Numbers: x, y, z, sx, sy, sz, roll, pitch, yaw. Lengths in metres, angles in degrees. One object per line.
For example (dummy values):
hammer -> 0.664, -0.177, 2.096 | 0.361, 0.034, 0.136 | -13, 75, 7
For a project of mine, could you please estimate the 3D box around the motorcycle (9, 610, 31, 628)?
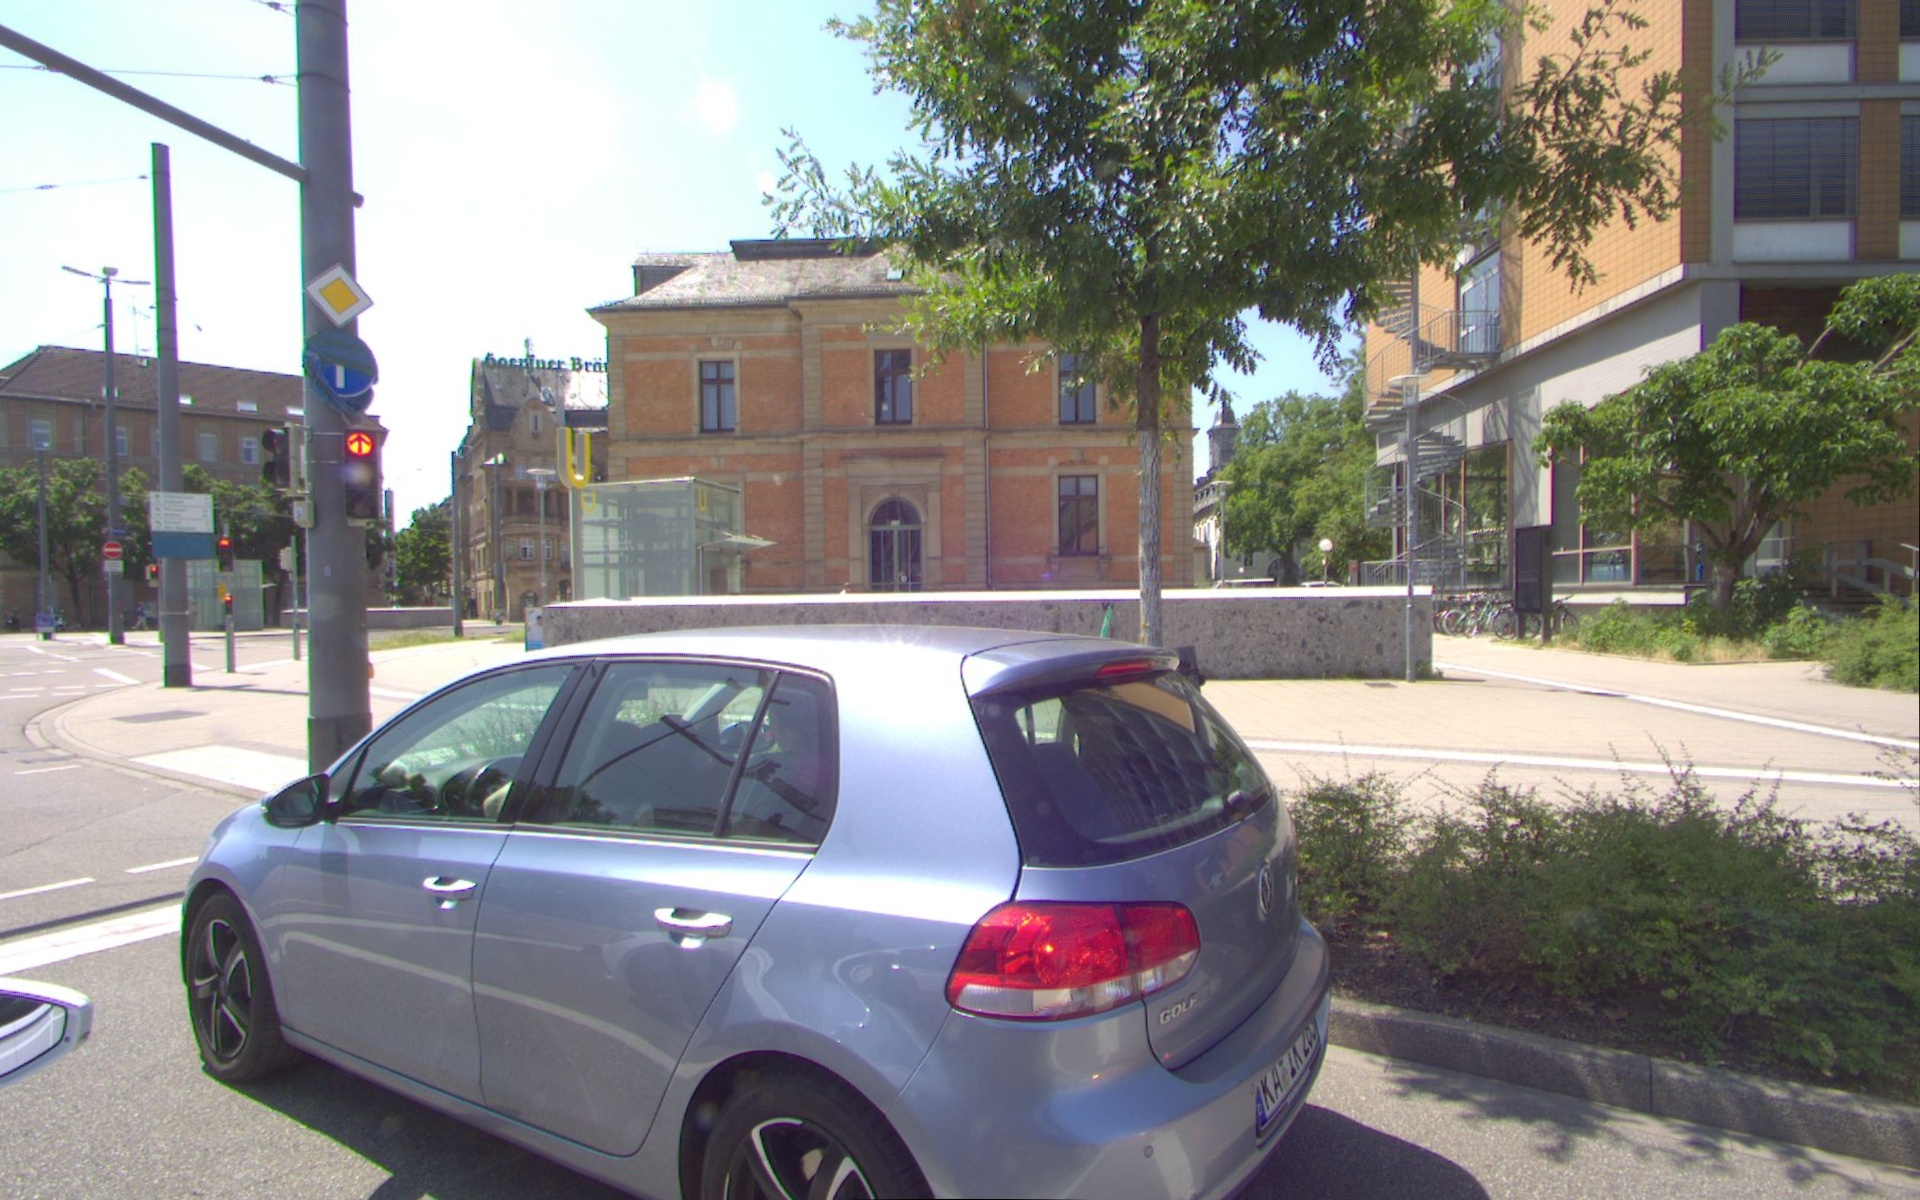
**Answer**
motorcycle -> -56.116, 1.125, 59.769 | 1.920, 1.089, 0.578 | 0, 1, 36

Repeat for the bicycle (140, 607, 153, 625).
bicycle -> -52.582, 1.025, 64.714 | 0.547, 1.135, 1.854 | -1, 1, -41

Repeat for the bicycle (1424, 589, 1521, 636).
bicycle -> 13.534, 0.343, 26.478 | 2.175, 1.234, 0.637 | 0, -1, 5

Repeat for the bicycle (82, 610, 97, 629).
bicycle -> -54.274, 1.225, 62.425 | 0.546, 1.135, 1.806 | -1, 1, -37

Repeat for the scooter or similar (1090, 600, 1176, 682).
scooter or similar -> 2.561, 0.592, 14.809 | 1.227, 1.186, 0.458 | 0, 1, 13

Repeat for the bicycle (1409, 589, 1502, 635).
bicycle -> 13.464, 0.335, 27.244 | 2.175, 1.234, 0.637 | 0, -1, 5

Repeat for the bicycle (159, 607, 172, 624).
bicycle -> -52.077, 1.010, 65.641 | 0.547, 1.135, 1.912 | -1, 1, -41

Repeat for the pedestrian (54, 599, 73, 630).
pedestrian -> -49.594, 0.811, 55.366 | 0.628, 1.731, 0.462 | 0, 1, 9

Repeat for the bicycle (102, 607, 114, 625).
bicycle -> -53.527, 0.983, 62.927 | 0.547, 1.135, 1.804 | -1, 1, -41

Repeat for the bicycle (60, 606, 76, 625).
bicycle -> -55.281, 0.953, 62.035 | 2.069, 1.160, 0.440 | -2, -2, 39

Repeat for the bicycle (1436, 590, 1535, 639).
bicycle -> 13.480, 0.371, 25.732 | 2.175, 1.234, 0.637 | 0, -1, 5

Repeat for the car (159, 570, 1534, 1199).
car -> -0.572, 0.737, 3.004 | 3.946, 1.478, 1.648 | 0, -1, 32
